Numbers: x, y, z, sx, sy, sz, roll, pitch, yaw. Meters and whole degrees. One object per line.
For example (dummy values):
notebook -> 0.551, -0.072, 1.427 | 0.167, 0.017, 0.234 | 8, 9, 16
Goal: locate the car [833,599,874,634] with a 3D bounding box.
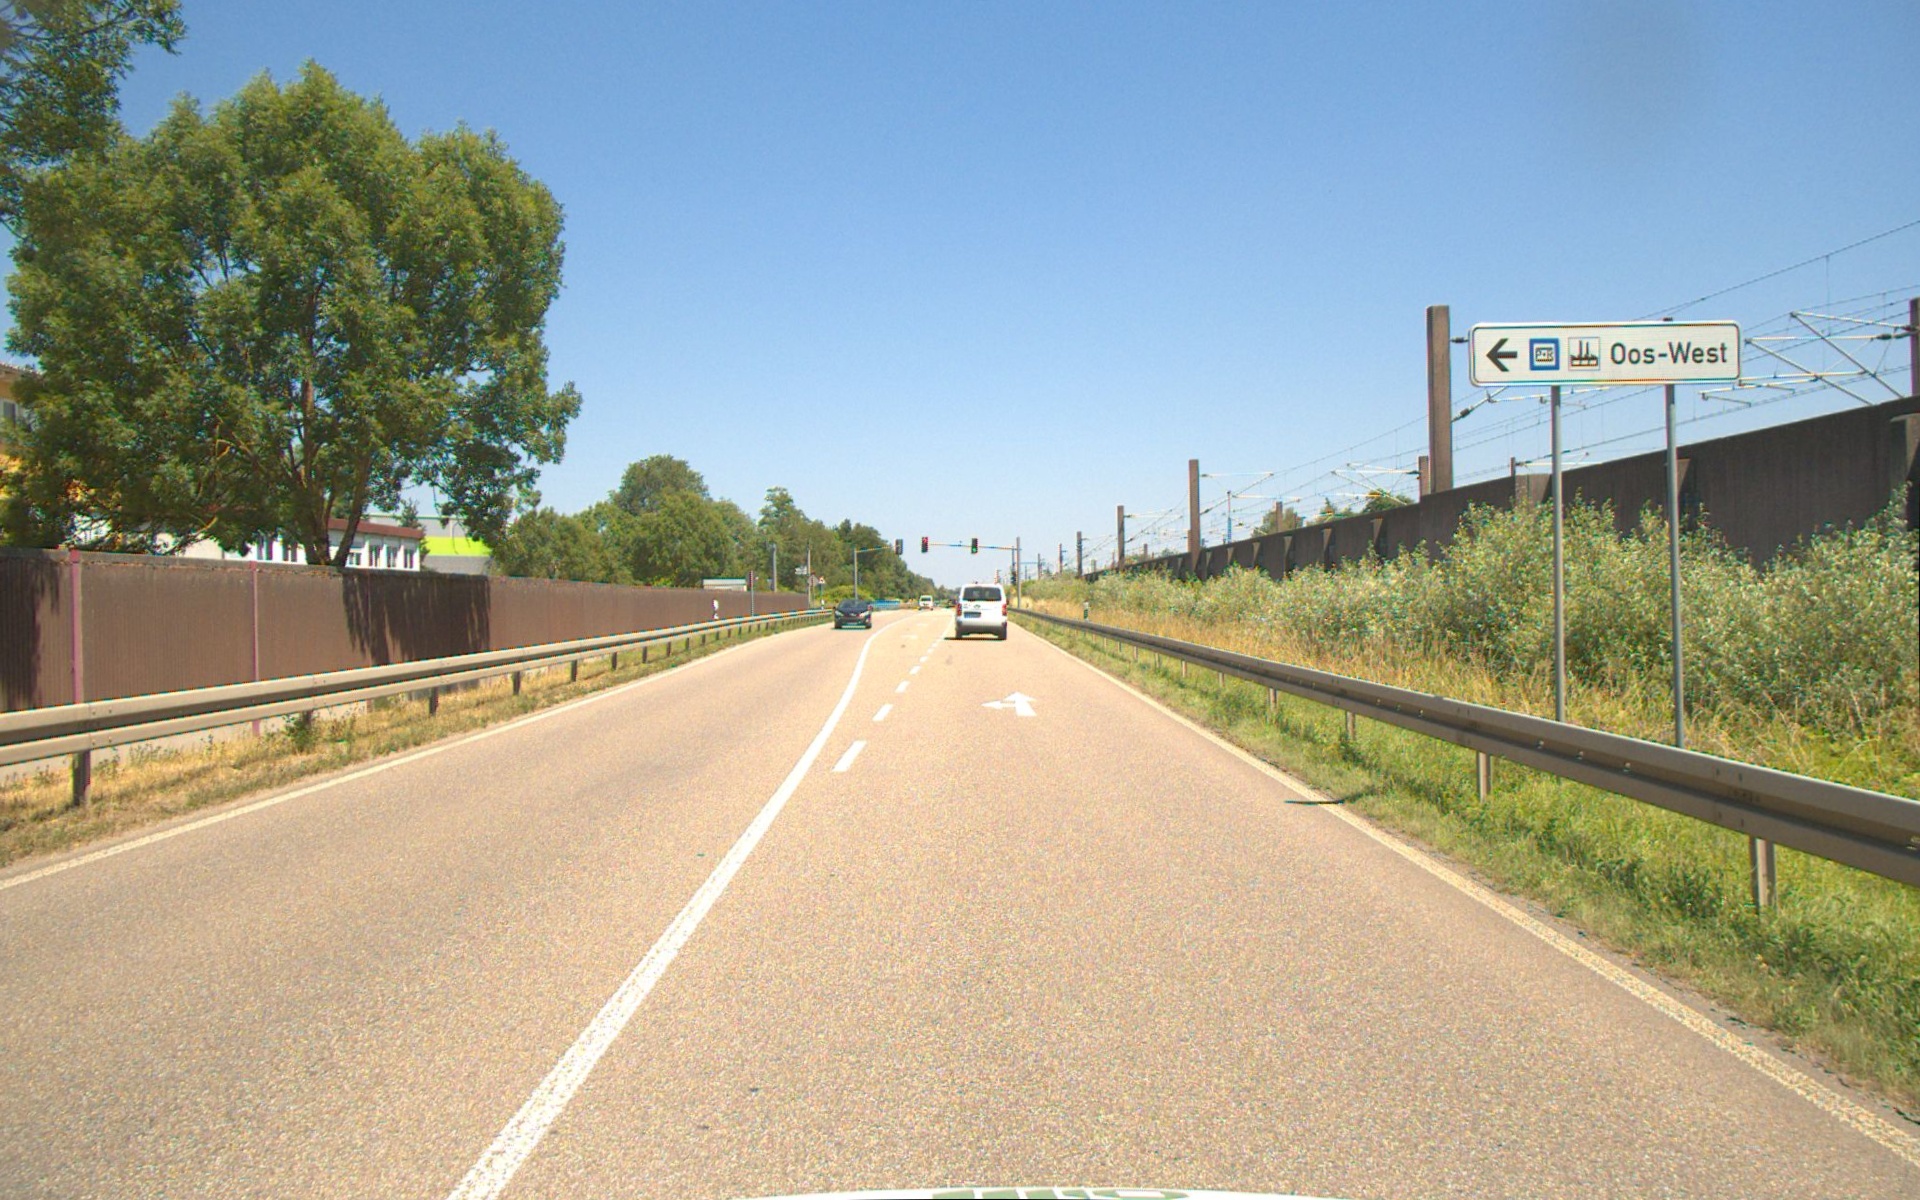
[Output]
car -> -5.218, 0.784, 81.571 | 1.782, 1.624, 3.999 | 1, 0, -1

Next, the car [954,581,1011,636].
car -> 0.797, 0.295, 59.394 | 1.952, 1.882, 4.000 | 1, 0, 0

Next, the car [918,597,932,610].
car -> -4.566, 0.391, 214.309 | 1.782, 1.624, 3.999 | 1, 0, -1
